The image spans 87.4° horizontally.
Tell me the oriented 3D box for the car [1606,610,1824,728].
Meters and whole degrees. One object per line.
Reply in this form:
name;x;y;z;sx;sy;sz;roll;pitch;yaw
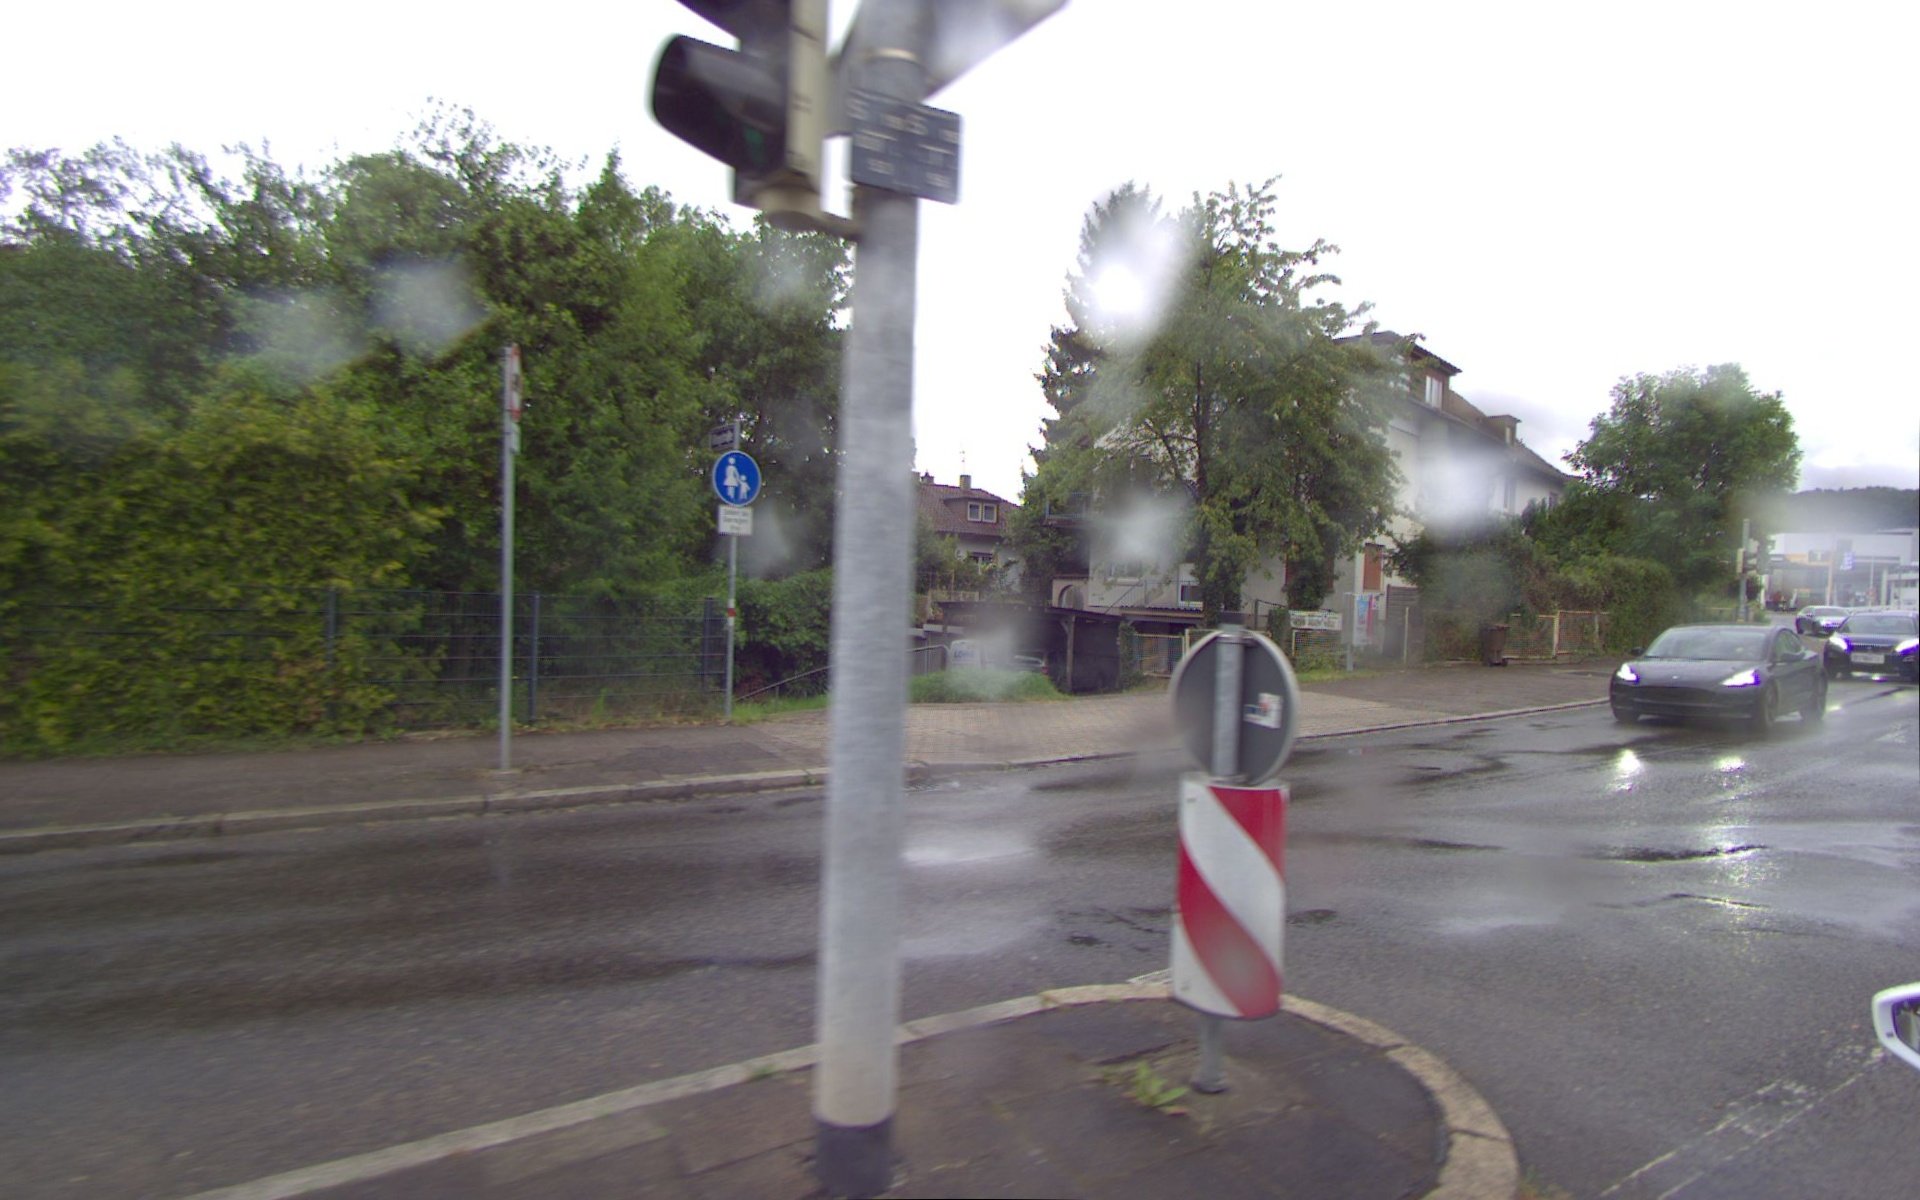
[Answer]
car;11.248;0.924;14.870;4.121;1.509;1.777;1;-1;-41

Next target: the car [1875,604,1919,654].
car;32.059;0.956;33.815;3.748;1.602;1.605;1;-1;-44

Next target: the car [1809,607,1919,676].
car;22.843;0.991;25.101;3.967;1.585;1.834;1;-1;-40

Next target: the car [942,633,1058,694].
car;1.368;2.072;32.981;1.773;1.884;3.983;-4;-4;39

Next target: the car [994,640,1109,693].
car;2.895;2.028;31.044;1.771;1.503;3.987;-3;-4;35
